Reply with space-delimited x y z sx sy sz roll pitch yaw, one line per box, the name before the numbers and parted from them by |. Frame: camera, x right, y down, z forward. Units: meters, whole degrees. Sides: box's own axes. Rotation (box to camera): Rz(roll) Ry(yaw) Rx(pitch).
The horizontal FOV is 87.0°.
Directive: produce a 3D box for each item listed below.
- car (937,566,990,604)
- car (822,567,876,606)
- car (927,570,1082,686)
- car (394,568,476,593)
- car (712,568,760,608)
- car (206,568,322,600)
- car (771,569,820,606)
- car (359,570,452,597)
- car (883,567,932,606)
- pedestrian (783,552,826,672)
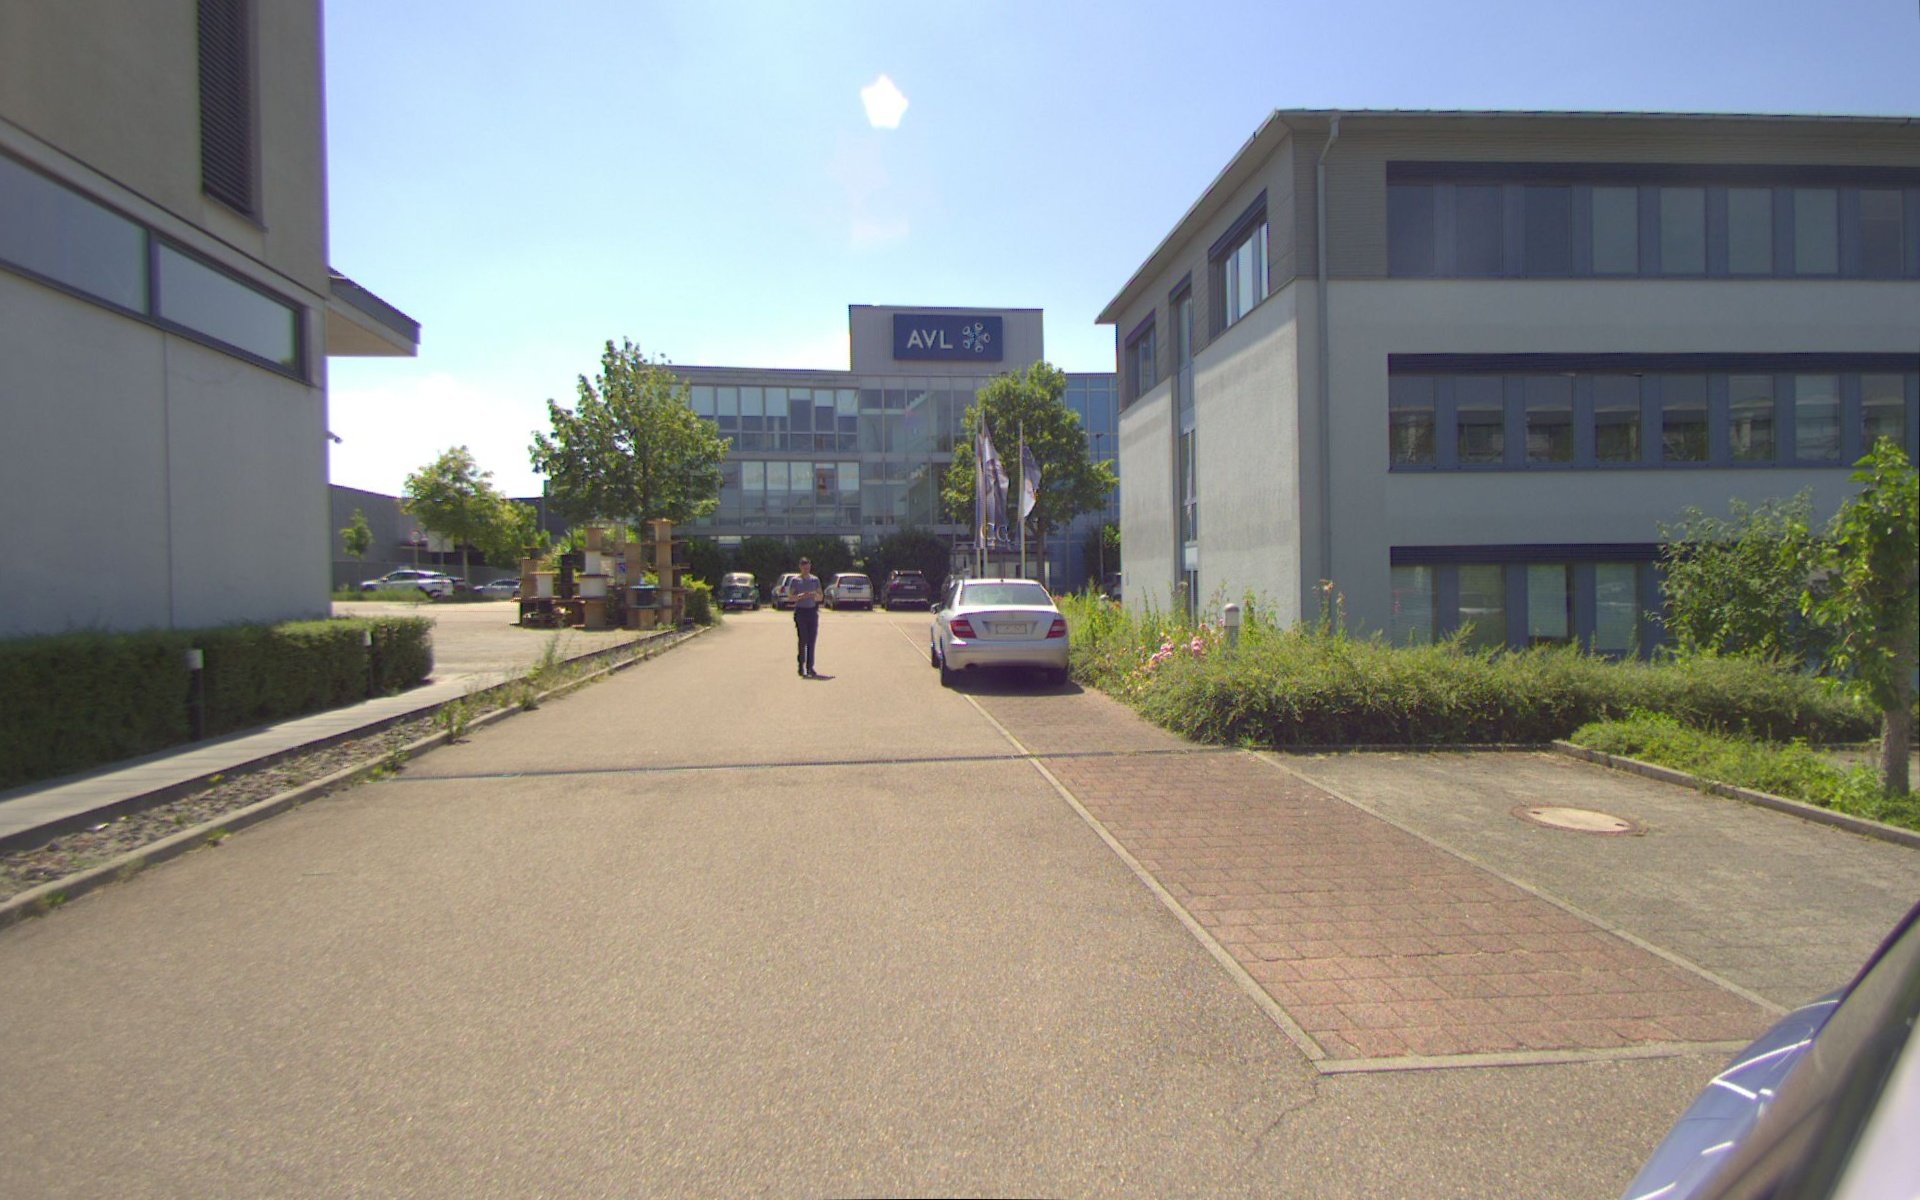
car | 0.117 -0.636 42.747 1.714 1.538 4.006 0 1 -7
car | -4.692 -0.553 42.341 1.713 1.538 4.008 0 1 -14
car | 0.506 0.328 14.672 1.695 1.454 3.721 0 1 -6
car | -30.612 -1.125 59.067 3.995 1.433 1.746 0 0 6
car | -9.011 -0.483 40.936 1.713 1.538 4.007 0 1 -10
car | -32.025 -0.727 46.615 4.372 1.433 1.746 0 0 7
car | -6.756 -0.512 41.423 1.639 1.459 4.008 0 1 -14
car | -30.800 -0.914 56.277 4.370 1.433 1.746 0 0 6
car | -2.228 -0.561 42.212 1.714 1.538 4.006 0 1 -7
pedestrian | -2.373 0.171 15.379 0.606 1.779 0.789 0 0 -11
